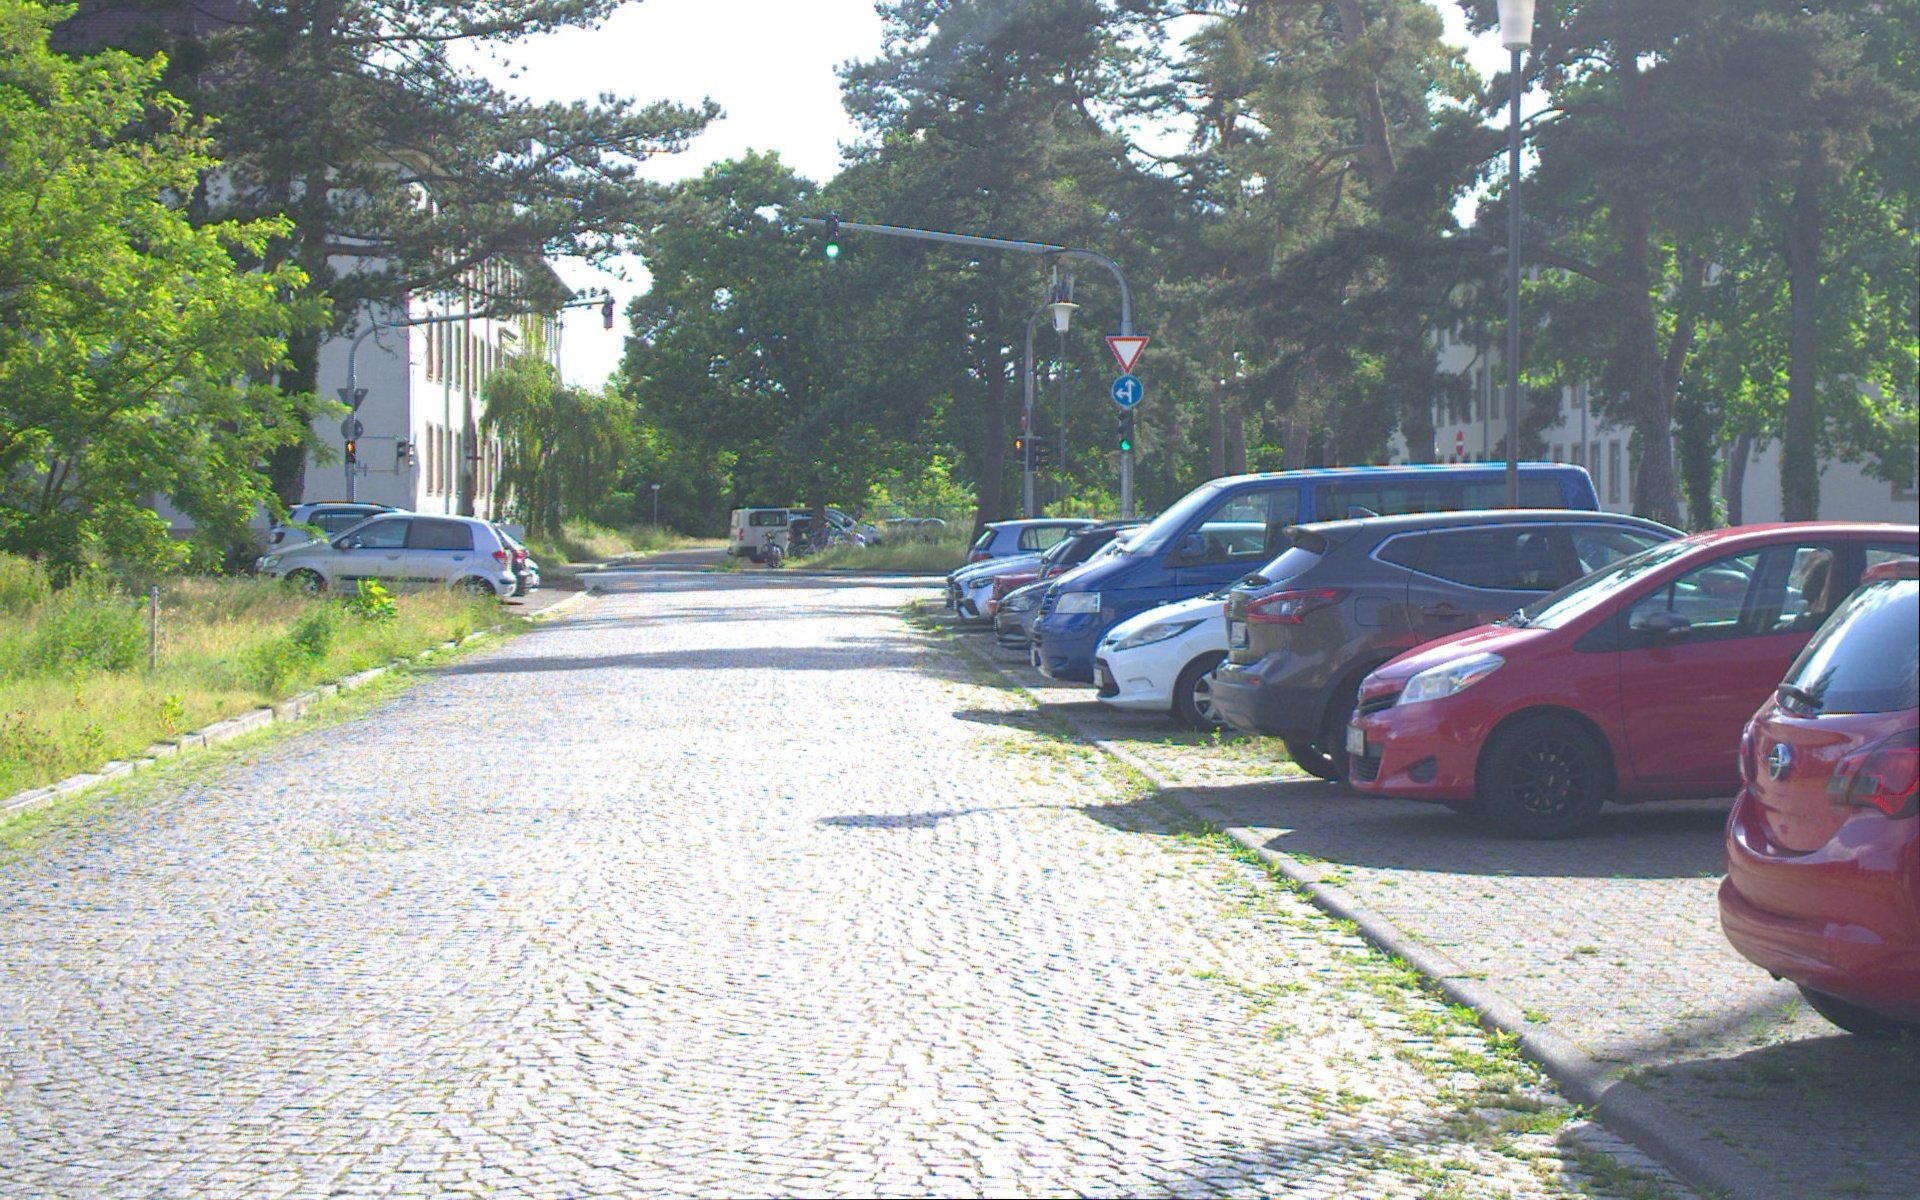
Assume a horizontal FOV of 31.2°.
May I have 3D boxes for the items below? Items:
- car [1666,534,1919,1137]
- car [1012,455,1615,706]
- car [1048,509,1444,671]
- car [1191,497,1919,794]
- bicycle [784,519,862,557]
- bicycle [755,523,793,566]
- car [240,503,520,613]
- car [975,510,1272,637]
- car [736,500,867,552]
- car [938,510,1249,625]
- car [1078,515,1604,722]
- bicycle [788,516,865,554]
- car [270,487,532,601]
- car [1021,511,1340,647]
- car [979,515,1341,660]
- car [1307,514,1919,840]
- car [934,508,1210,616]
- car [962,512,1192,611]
[{"bbox_3d":[4.059,0.552,9.475,3.826,1.473,1.646,-1,2,-4],"label":"car"},{"bbox_3d":[2.880,-0.181,28.734,4.676,2.007,2.084,0,2,-6],"label":"car"},{"bbox_3d":[2.785,-0.122,34.004,3.694,1.460,1.646,-2,1,-2],"label":"car"},{"bbox_3d":[3.405,0.228,19.744,3.935,1.616,1.772,0,2,-4],"label":"car"},{"bbox_3d":[-4.031,-1.831,101.200,2.172,1.096,0.807,1,1,-12],"label":"bicycle"},{"bbox_3d":[-5.240,-1.579,96.928,0.804,1.165,2.181,-2,2,-9],"label":"bicycle"},{"bbox_3d":[-8.585,-0.638,51.179,3.986,1.595,2.001,0,2,-5],"label":"car"},{"bbox_3d":[1.991,-0.334,42.474,3.477,1.524,1.646,0,2,-4],"label":"car"},{"bbox_3d":[-5.483,-2.566,118.615,4.480,1.722,2.000,1,1,-3],"label":"car"},{"bbox_3d":[1.800,-0.455,47.009,4.033,1.524,1.646,0,2,-6],"label":"car"},{"bbox_3d":[2.848,0.110,26.144,3.718,1.483,1.646,-1,2,-5],"label":"car"},{"bbox_3d":[-3.984,-1.946,102.310,2.172,1.096,0.807,1,1,-12],"label":"bicycle"},{"bbox_3d":[-9.158,-0.925,56.544,3.986,1.596,2.000,4,1,-3],"label":"car"},{"bbox_3d":[2.519,-0.259,39.804,3.477,1.524,1.646,0,2,-4],"label":"car"},{"bbox_3d":[2.110,-0.153,36.864,3.674,1.462,1.646,-1,2,-4],"label":"car"},{"bbox_3d":[3.733,0.348,17.081,3.762,1.525,1.646,0,2,-4],"label":"car"},{"bbox_3d":[1.597,-0.563,49.773,3.835,1.524,1.646,0,2,-4],"label":"car"},{"bbox_3d":[1.756,-0.598,52.423,3.343,1.477,1.646,0,2,-4],"label":"car"}]
